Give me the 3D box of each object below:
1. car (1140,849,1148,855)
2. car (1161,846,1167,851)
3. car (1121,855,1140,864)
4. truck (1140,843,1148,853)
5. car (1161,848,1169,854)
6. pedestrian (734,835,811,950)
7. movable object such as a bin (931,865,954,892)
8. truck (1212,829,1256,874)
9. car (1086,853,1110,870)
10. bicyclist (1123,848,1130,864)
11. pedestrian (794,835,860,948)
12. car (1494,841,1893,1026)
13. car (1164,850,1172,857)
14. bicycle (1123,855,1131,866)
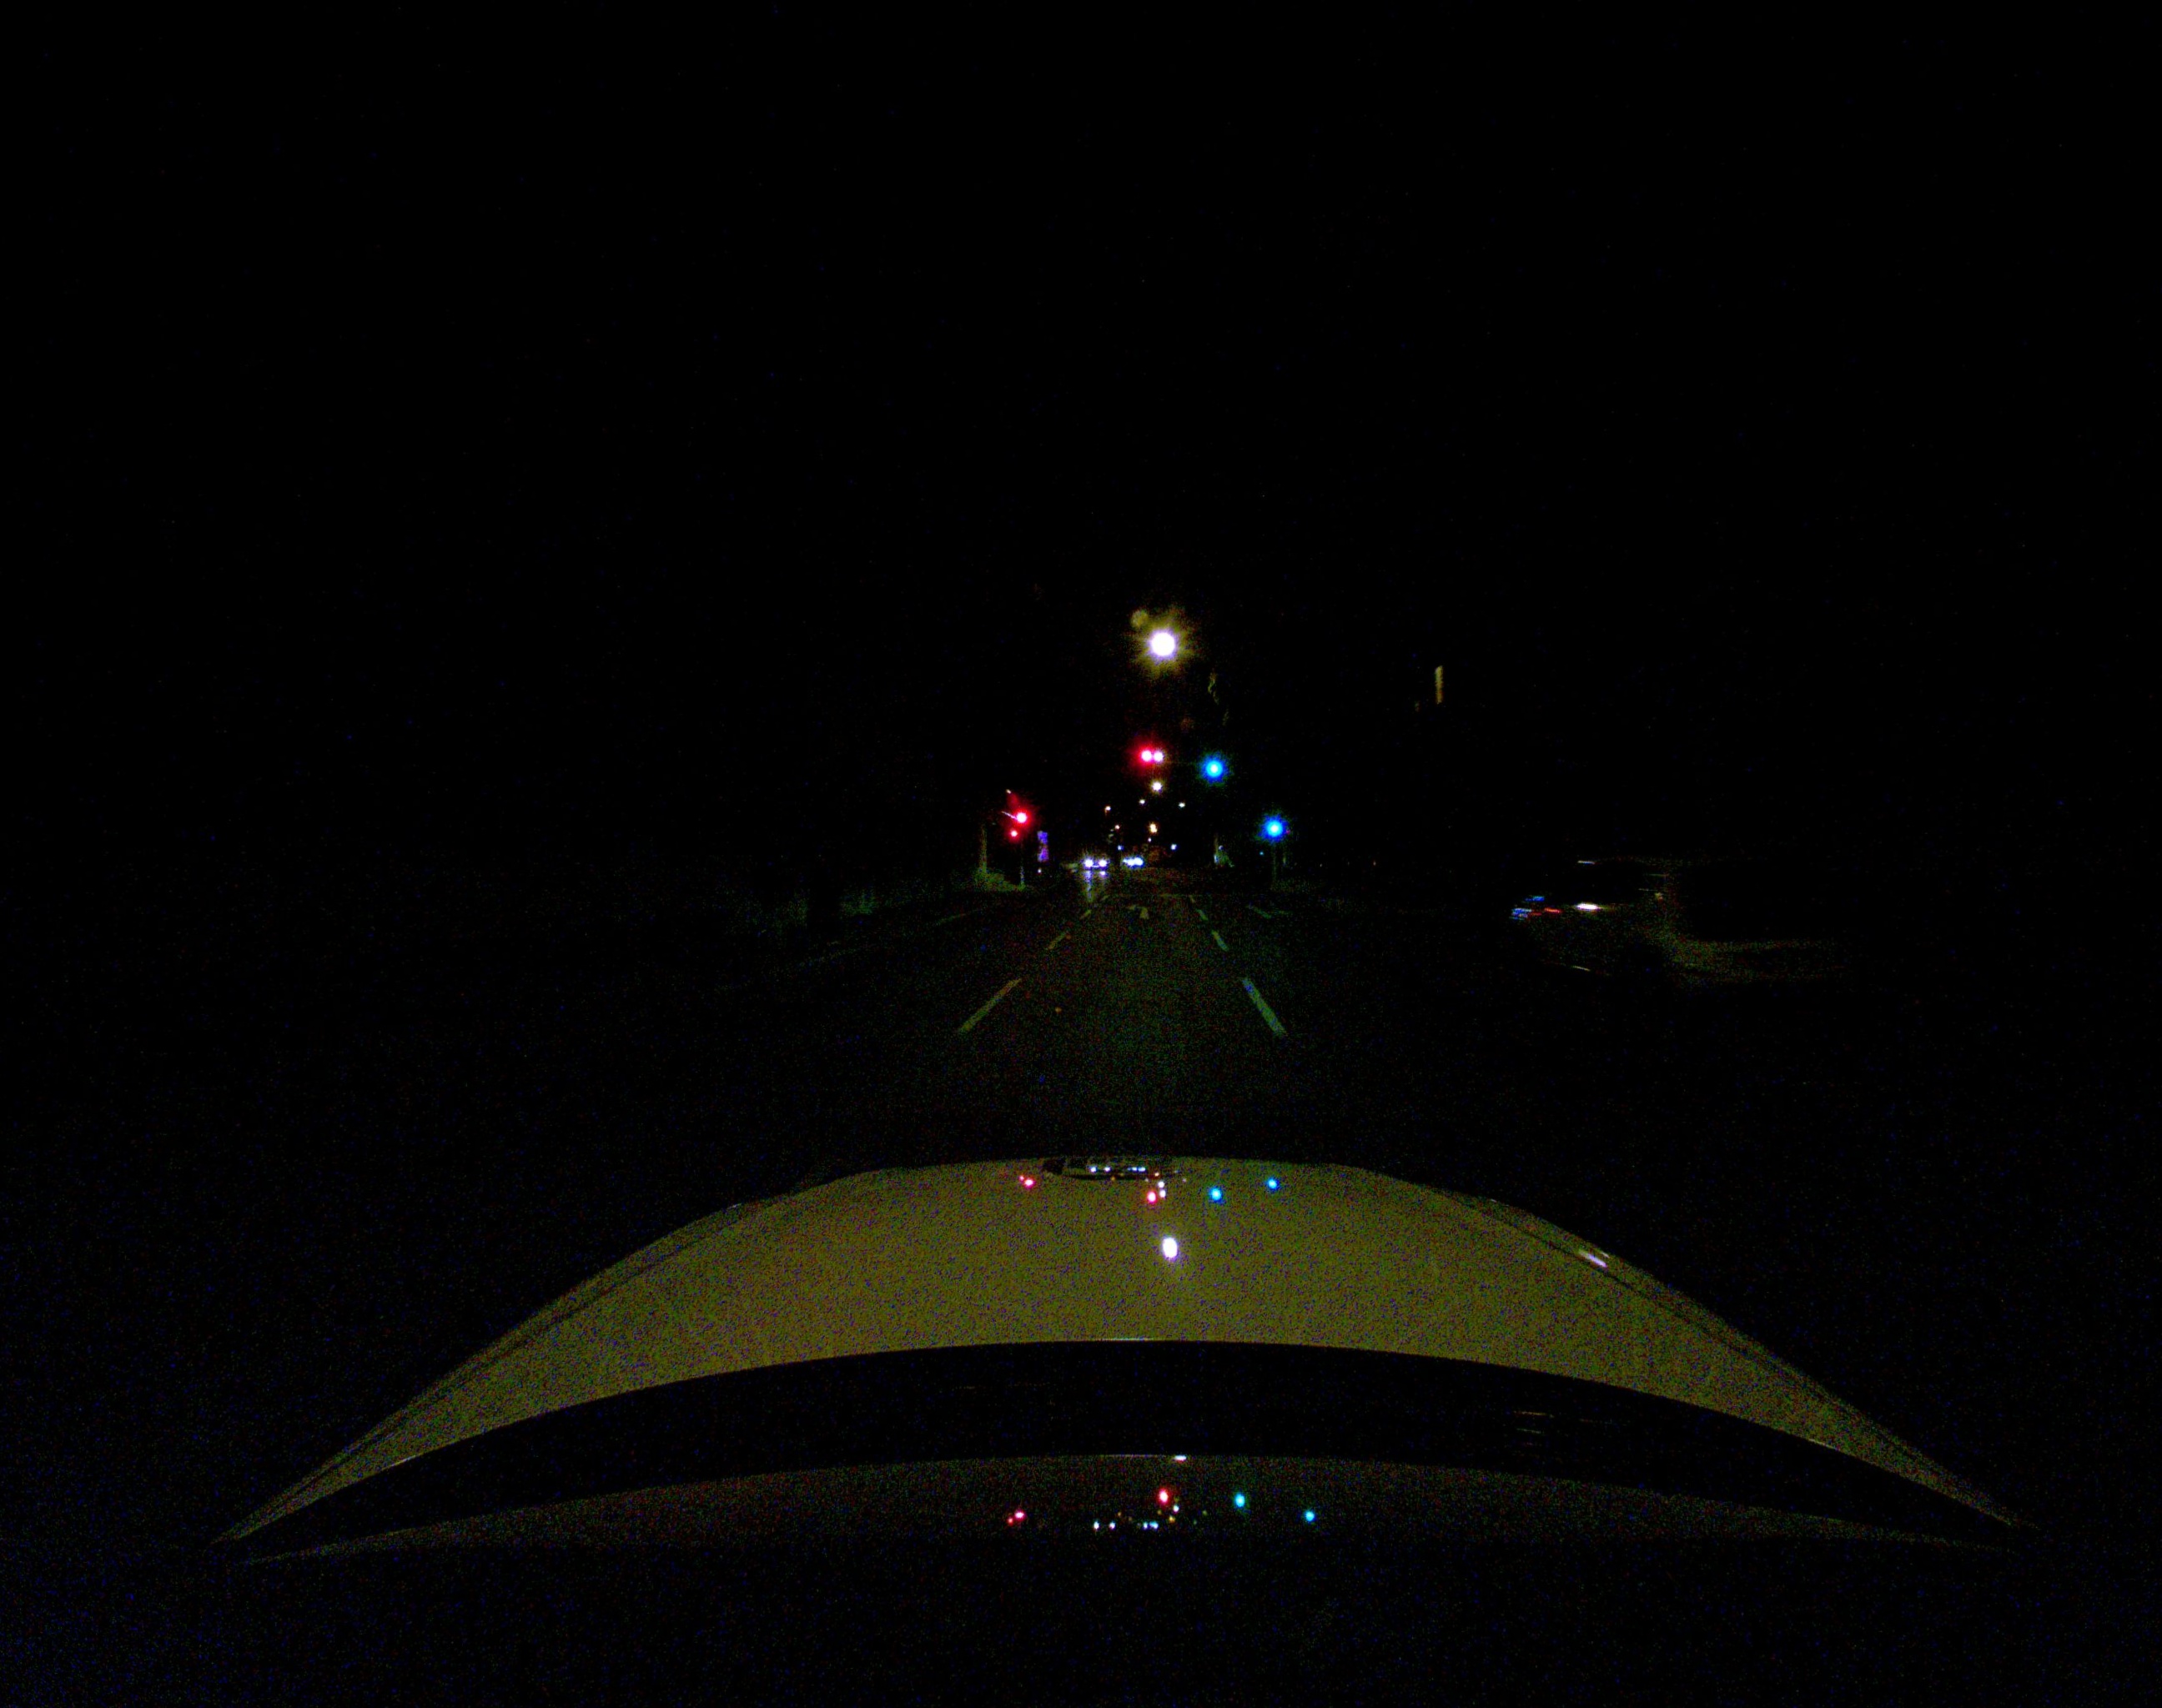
[{"bbox_3d":[14.484,-0.493,186.594,1.807,1.491,4.004,0,0,4],"label":"car"},{"bbox_3d":[22.107,-1.496,217.017,1.626,1.451,3.490,0,0,5],"label":"car"},{"bbox_3d":[7.341,0.785,121.256,1.915,1.388,4.570,0,0,-8],"label":"car"},{"bbox_3d":[18.201,-1.761,235.562,2.077,2.848,5.837,0,0,4],"label":"truck"},{"bbox_3d":[19.053,-0.727,184.882,1.626,1.451,3.490,0,0,5],"label":"car"},{"bbox_3d":[-4.888,0.597,12.973,0.739,1.745,1.104,-1,-1,4],"label":"pedestrian"},{"bbox_3d":[-5.463,0.983,32.236,0.633,1.049,0.658,-1,-1,23],"label":"movable object such as a bin"},{"bbox_3d":[11.203,-0.182,60.116,2.736,3.110,6.268,0,0,6],"label":"truck"},{"bbox_3d":[1.590,0.650,73.045,1.848,1.534,4.033,-1,0,5],"label":"car"},{"bbox_3d":[4.909,0.208,87.012,0.687,1.637,0.897,-1,-1,5],"label":"bicyclist"},{"bbox_3d":[-4.107,0.587,13.218,0.672,1.745,1.030,-1,-1,4],"label":"pedestrian"},{"bbox_3d":[6.038,0.664,8.631,1.660,1.484,3.608,-3,0,4],"label":"car"},{"bbox_3d":[17.957,-0.194,168.809,1.626,1.451,3.490,0,0,5],"label":"car"},{"bbox_3d":[4.923,0.683,87.018,0.693,1.149,1.953,-1,0,5],"label":"bicycle"}]
